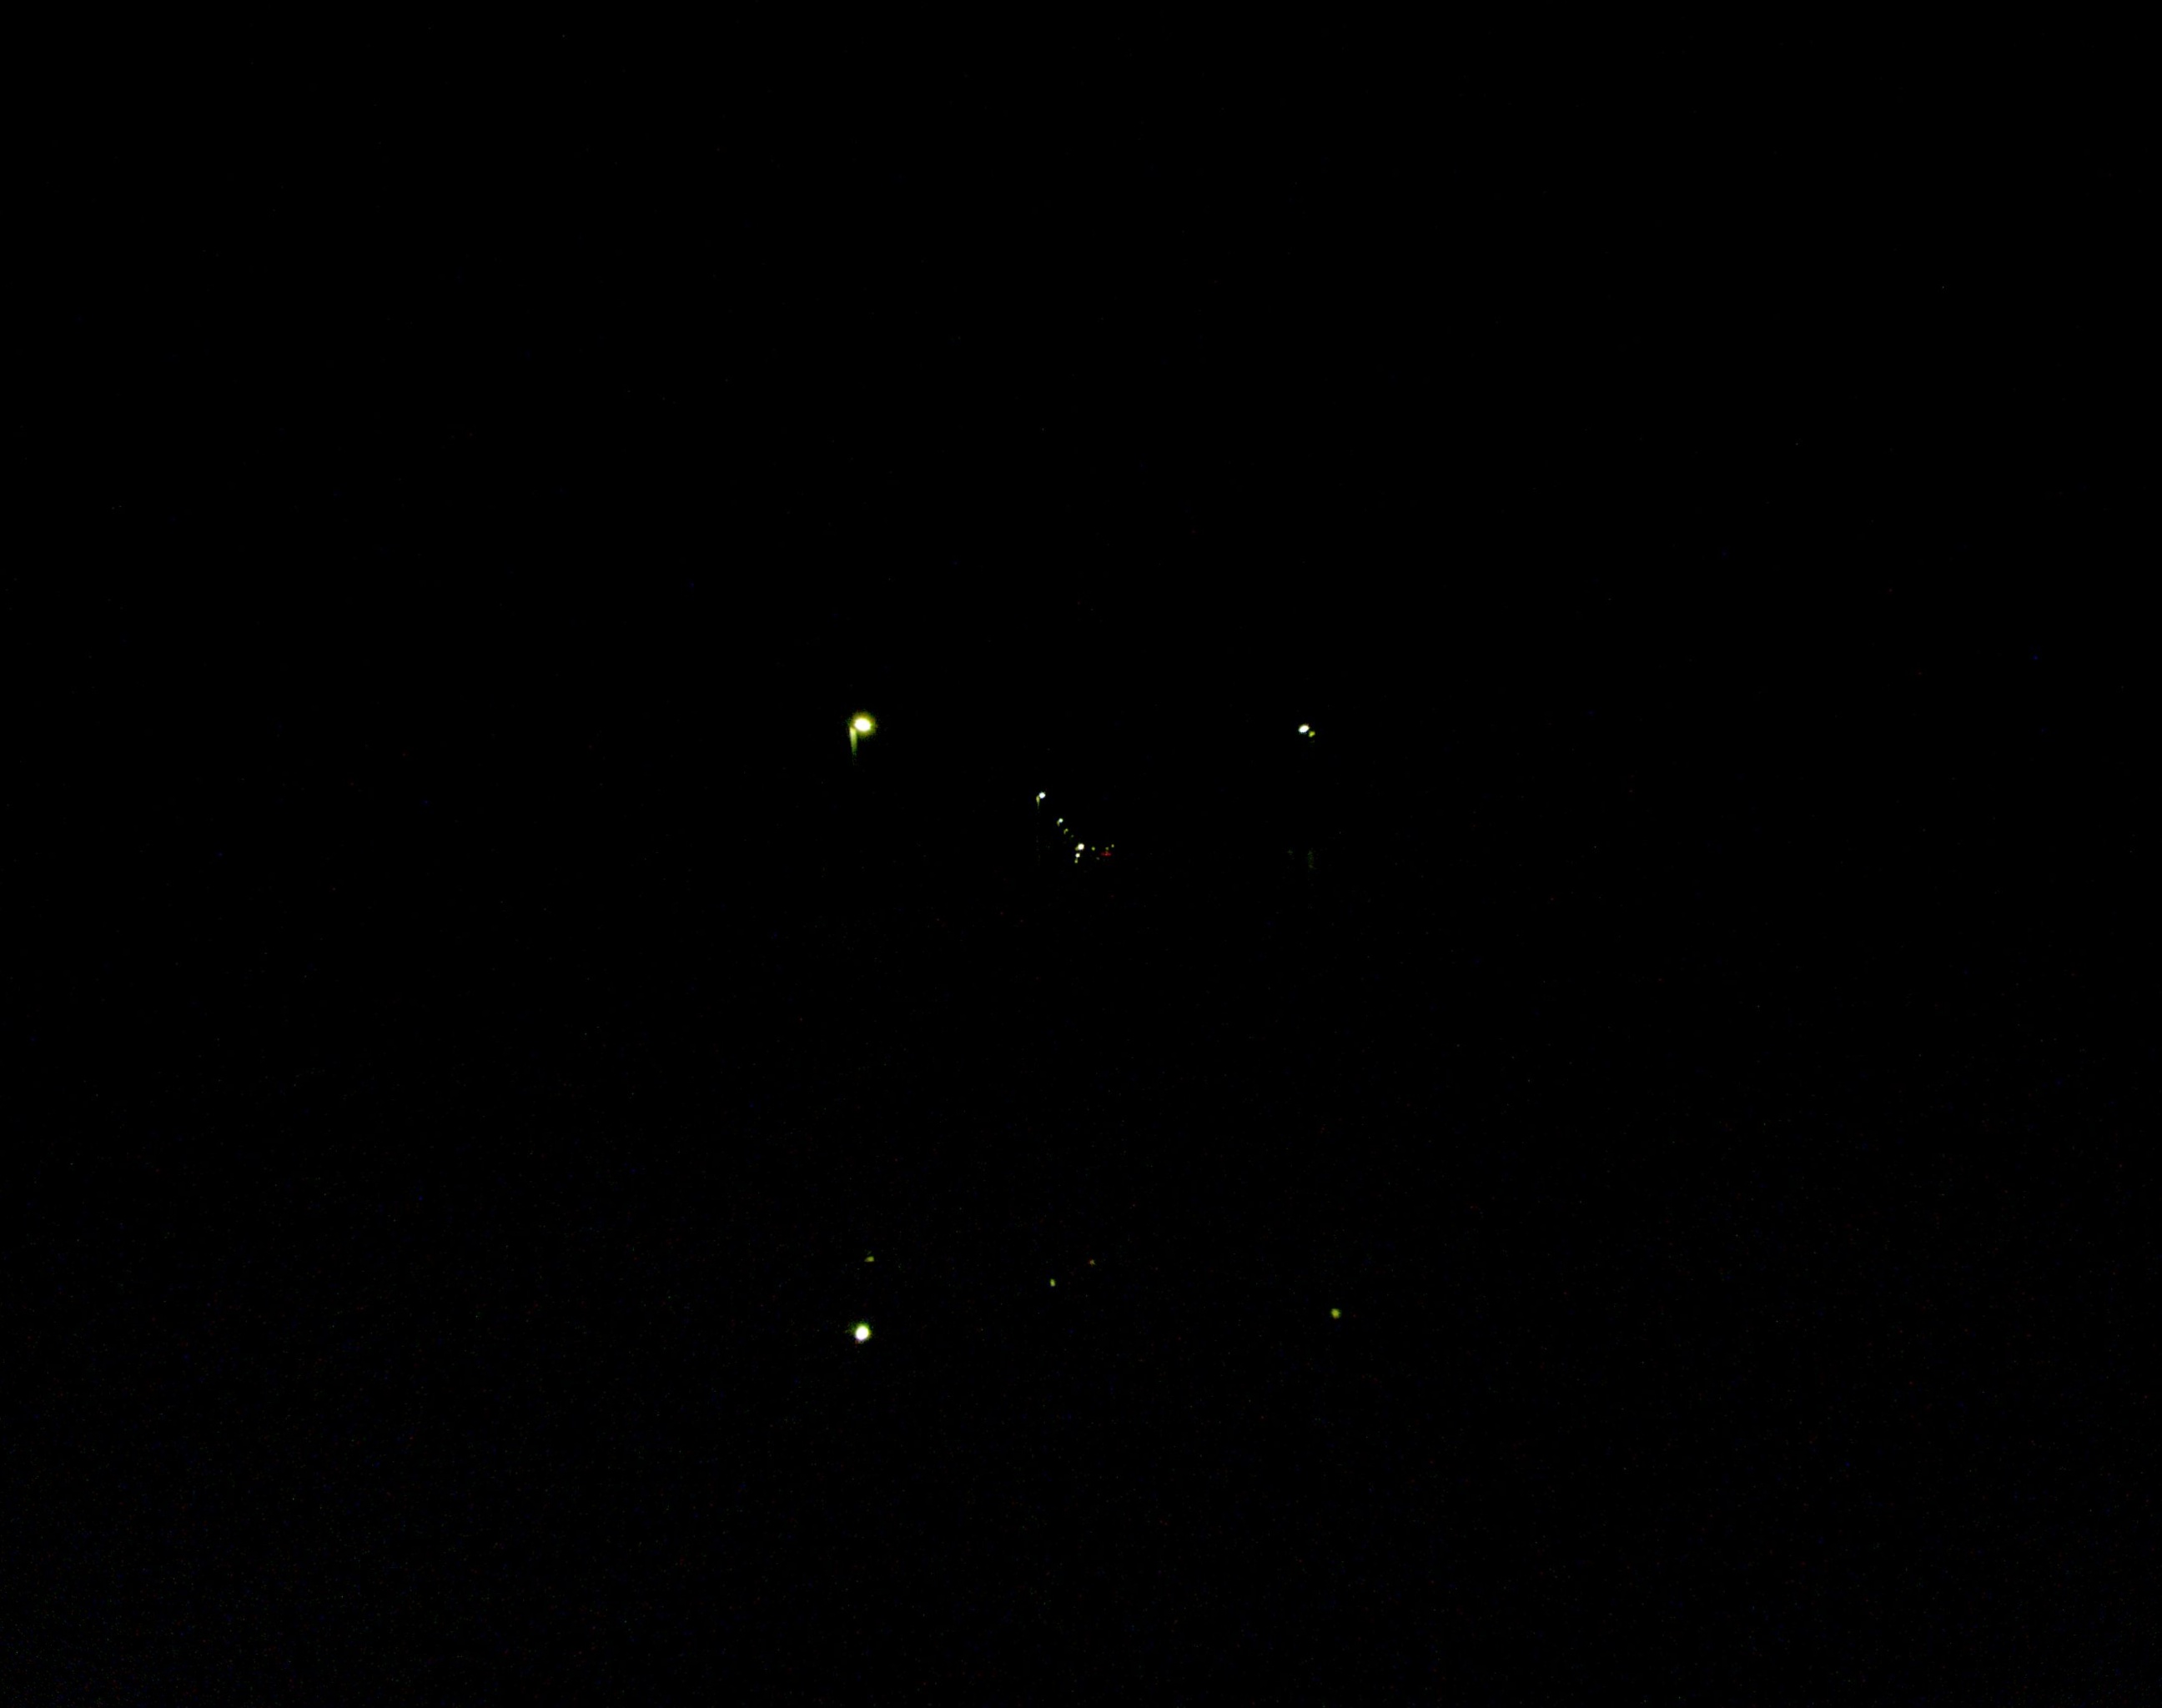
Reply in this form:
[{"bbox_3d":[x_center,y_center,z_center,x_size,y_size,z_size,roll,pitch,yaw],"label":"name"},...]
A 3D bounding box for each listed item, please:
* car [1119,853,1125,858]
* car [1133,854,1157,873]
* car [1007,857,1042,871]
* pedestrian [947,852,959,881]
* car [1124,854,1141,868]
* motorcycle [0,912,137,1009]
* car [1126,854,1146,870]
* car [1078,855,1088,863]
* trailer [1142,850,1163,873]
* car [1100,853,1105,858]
[{"bbox_3d":[13.874,0.526,255.240,1.814,1.637,3.804,-4,0,3],"label":"car"},{"bbox_3d":[5.496,0.791,65.247,1.675,1.513,2.978,-5,0,-1],"label":"car"},{"bbox_3d":[-6.535,1.147,88.018,3.719,1.464,1.731,-3,1,4],"label":"car"},{"bbox_3d":[-8.481,0.828,50.371,0.647,1.926,0.773,0,1,1],"label":"pedestrian"},{"bbox_3d":[5.925,0.808,87.275,1.692,1.501,4.279,-2,0,1],"label":"car"},{"bbox_3d":[-14.581,1.441,10.280,2.267,1.207,0.710,-1,0,-15],"label":"motorcycle"},{"bbox_3d":[5.684,0.802,78.783,1.771,1.510,4.278,-4,0,1],"label":"car"},{"bbox_3d":[0.369,0.937,147.304,1.747,1.560,4.209,-2,0,2],"label":"car"},{"bbox_3d":[5.831,0.573,61.987,1.451,1.678,3.426,-5,0,3],"label":"trailer"},{"bbox_3d":[7.182,0.442,249.676,1.606,1.474,3.699,-2,0,1],"label":"car"}]
